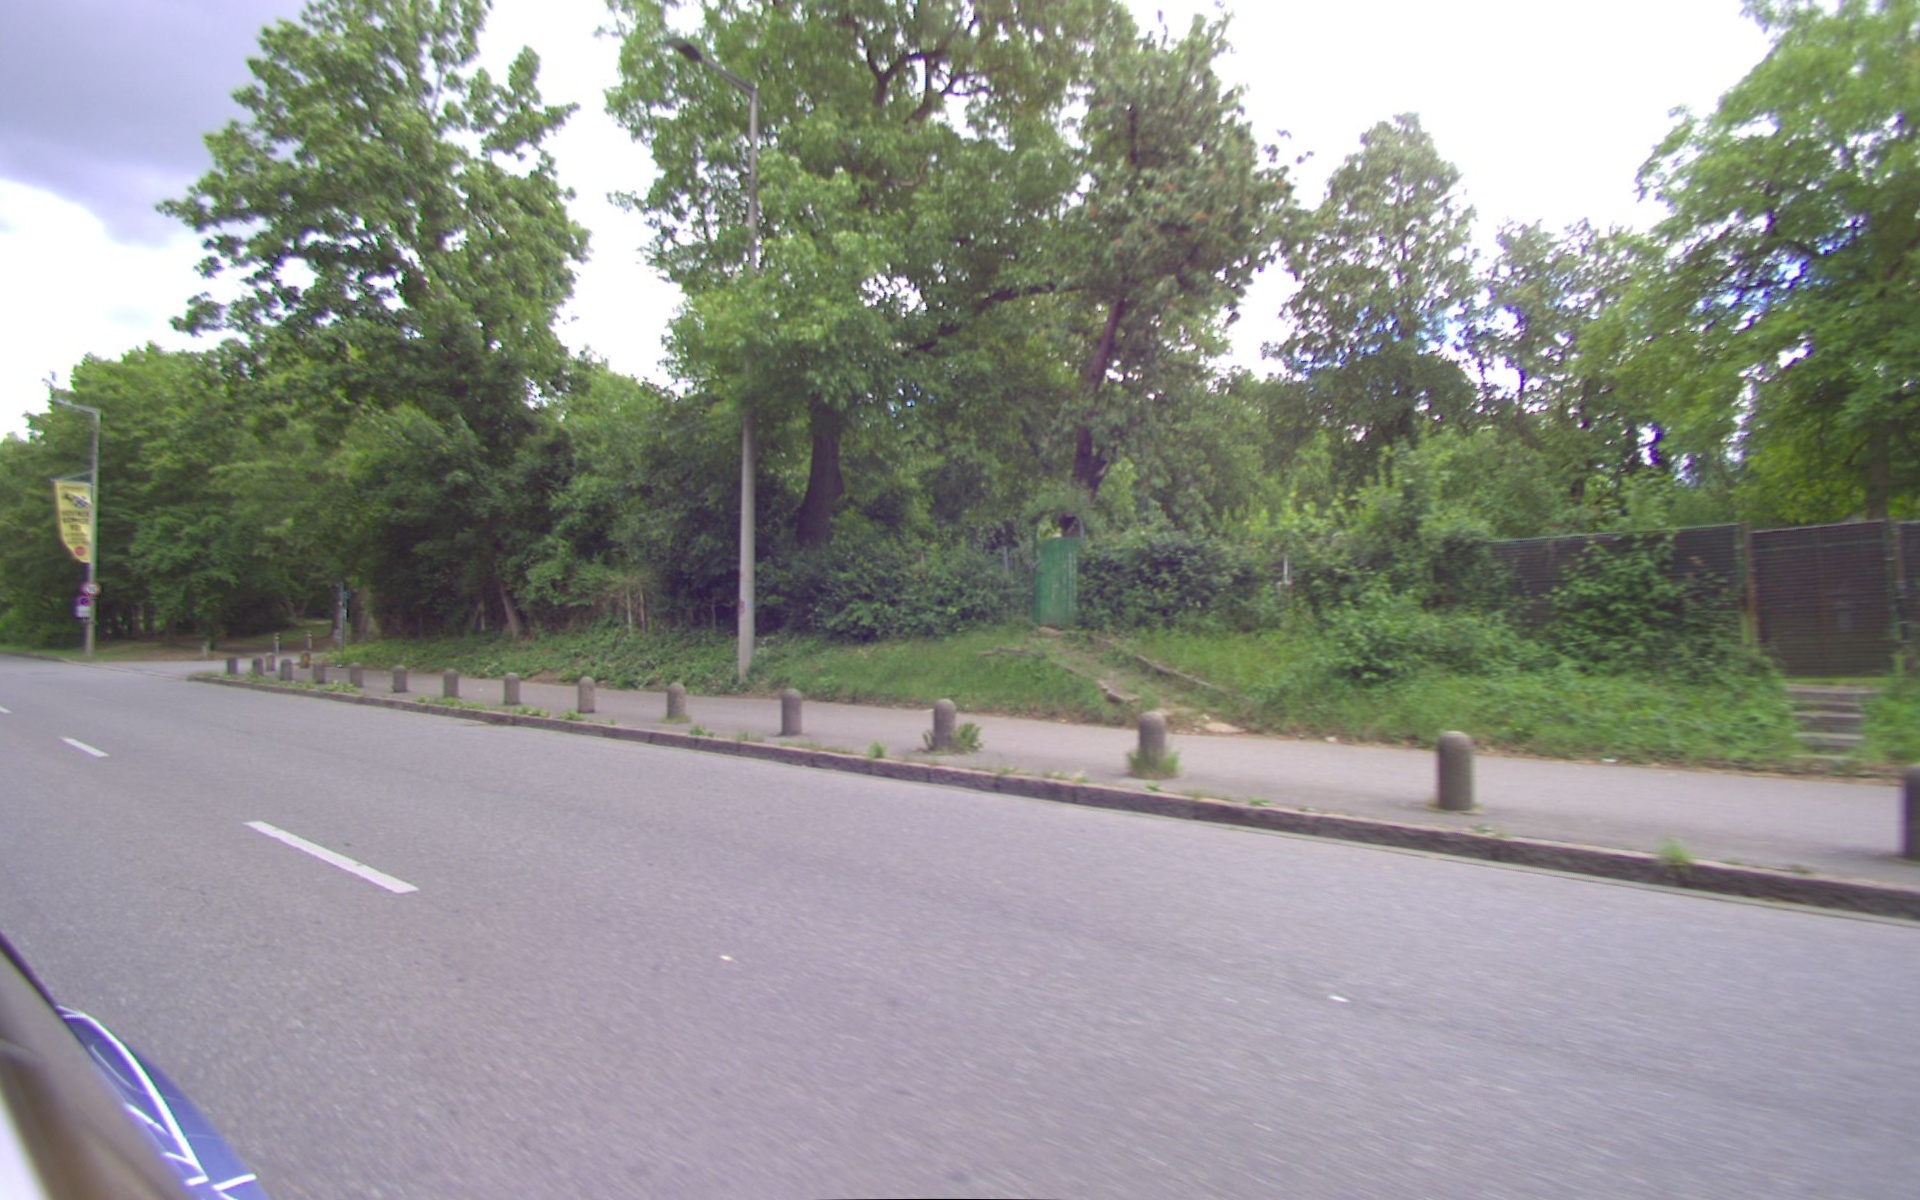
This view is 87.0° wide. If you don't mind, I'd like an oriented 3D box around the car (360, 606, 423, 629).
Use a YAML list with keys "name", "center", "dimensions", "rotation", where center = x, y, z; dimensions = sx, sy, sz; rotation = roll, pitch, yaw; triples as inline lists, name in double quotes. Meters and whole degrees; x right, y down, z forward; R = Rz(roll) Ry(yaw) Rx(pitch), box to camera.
- name: "car"
  center: [-40.657, 1.249, 72.363]
  dimensions: [3.966, 1.497, 1.642]
  rotation: [-1, -1, 17]
